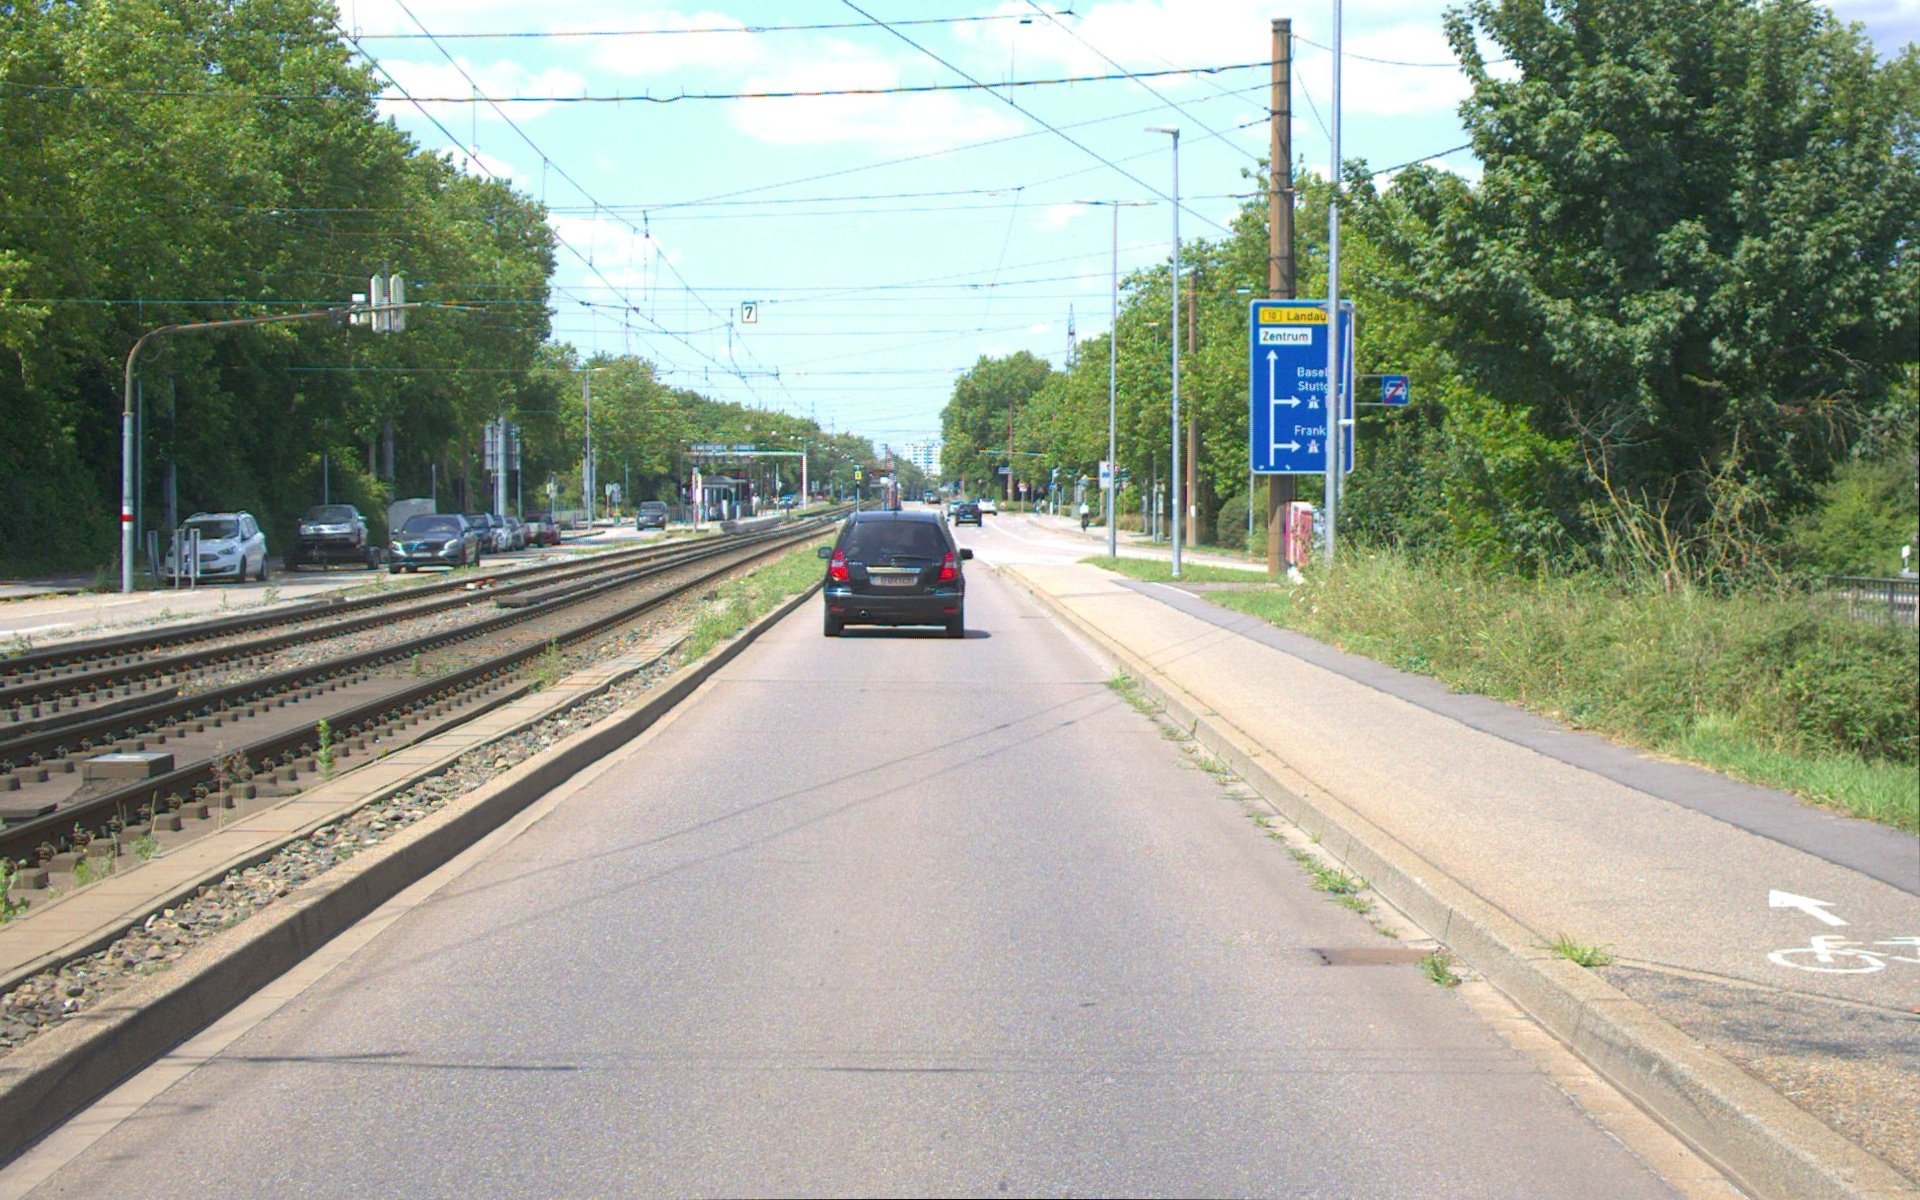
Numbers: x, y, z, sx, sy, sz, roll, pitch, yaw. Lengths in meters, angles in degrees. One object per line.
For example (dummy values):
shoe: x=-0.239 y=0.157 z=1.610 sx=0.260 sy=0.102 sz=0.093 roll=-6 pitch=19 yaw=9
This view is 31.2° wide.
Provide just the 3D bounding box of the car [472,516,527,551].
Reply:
car: x=-19.274 y=-2.802 z=144.058 sx=1.870 sy=1.396 sz=4.419 roll=1 pitch=2 yaw=-3

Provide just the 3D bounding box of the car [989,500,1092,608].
car: x=1.608 y=-0.956 z=69.780 sx=1.993 sy=2.006 sz=4.001 roll=1 pitch=3 yaw=0

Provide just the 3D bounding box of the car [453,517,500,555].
car: x=-18.679 y=-2.482 z=132.915 sx=1.433 sy=1.446 sz=3.922 roll=1 pitch=1 yaw=-2

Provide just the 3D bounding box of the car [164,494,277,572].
car: x=-17.454 y=-1.605 z=81.326 sx=1.720 sy=1.625 sz=4.617 roll=-3 pitch=3 yaw=-2

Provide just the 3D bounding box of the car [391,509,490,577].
car: x=-13.525 y=-1.507 z=89.779 sx=1.875 sy=1.714 sz=5.331 roll=0 pitch=1 yaw=-1

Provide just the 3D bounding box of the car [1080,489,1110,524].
car: x=8.141 y=-5.653 z=207.570 sx=1.612 sy=2.006 sz=3.440 roll=1 pitch=3 yaw=-1

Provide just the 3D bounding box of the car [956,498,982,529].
car: x=0.626 y=-6.084 z=241.256 sx=1.786 sy=2.006 sz=4.001 roll=1 pitch=3 yaw=0

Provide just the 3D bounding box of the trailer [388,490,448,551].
trailer: x=-18.501 y=-2.726 z=117.478 sx=1.609 sy=2.006 sz=3.917 roll=1 pitch=2 yaw=-3

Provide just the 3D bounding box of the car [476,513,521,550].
car: x=-18.613 y=-2.759 z=138.683 sx=1.433 sy=1.446 sz=3.741 roll=1 pitch=1 yaw=-2

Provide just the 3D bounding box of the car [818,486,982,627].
car: x=-0.718 y=-0.603 z=43.947 sx=1.853 sy=1.564 sz=4.388 roll=1 pitch=3 yaw=2

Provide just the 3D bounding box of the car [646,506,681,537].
car: x=-19.631 y=-5.223 z=227.462 sx=1.993 sy=2.007 sz=4.000 roll=-1 pitch=1 yaw=0

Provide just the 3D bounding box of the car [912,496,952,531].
car: x=-1.443 y=-4.477 z=177.817 sx=1.885 sy=1.634 sz=4.001 roll=4 pitch=3 yaw=0

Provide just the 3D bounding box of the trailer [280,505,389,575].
trailer: x=-17.603 y=-1.725 z=97.056 sx=2.461 sy=1.882 sz=5.963 roll=1 pitch=2 yaw=-5

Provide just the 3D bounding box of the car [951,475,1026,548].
car: x=0.811 y=-2.596 z=100.074 sx=1.993 sy=2.006 sz=4.001 roll=1 pitch=3 yaw=-2

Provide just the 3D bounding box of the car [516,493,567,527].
car: x=-19.812 y=-4.275 z=162.864 sx=1.993 sy=1.568 sz=4.001 roll=1 pitch=2 yaw=-1
